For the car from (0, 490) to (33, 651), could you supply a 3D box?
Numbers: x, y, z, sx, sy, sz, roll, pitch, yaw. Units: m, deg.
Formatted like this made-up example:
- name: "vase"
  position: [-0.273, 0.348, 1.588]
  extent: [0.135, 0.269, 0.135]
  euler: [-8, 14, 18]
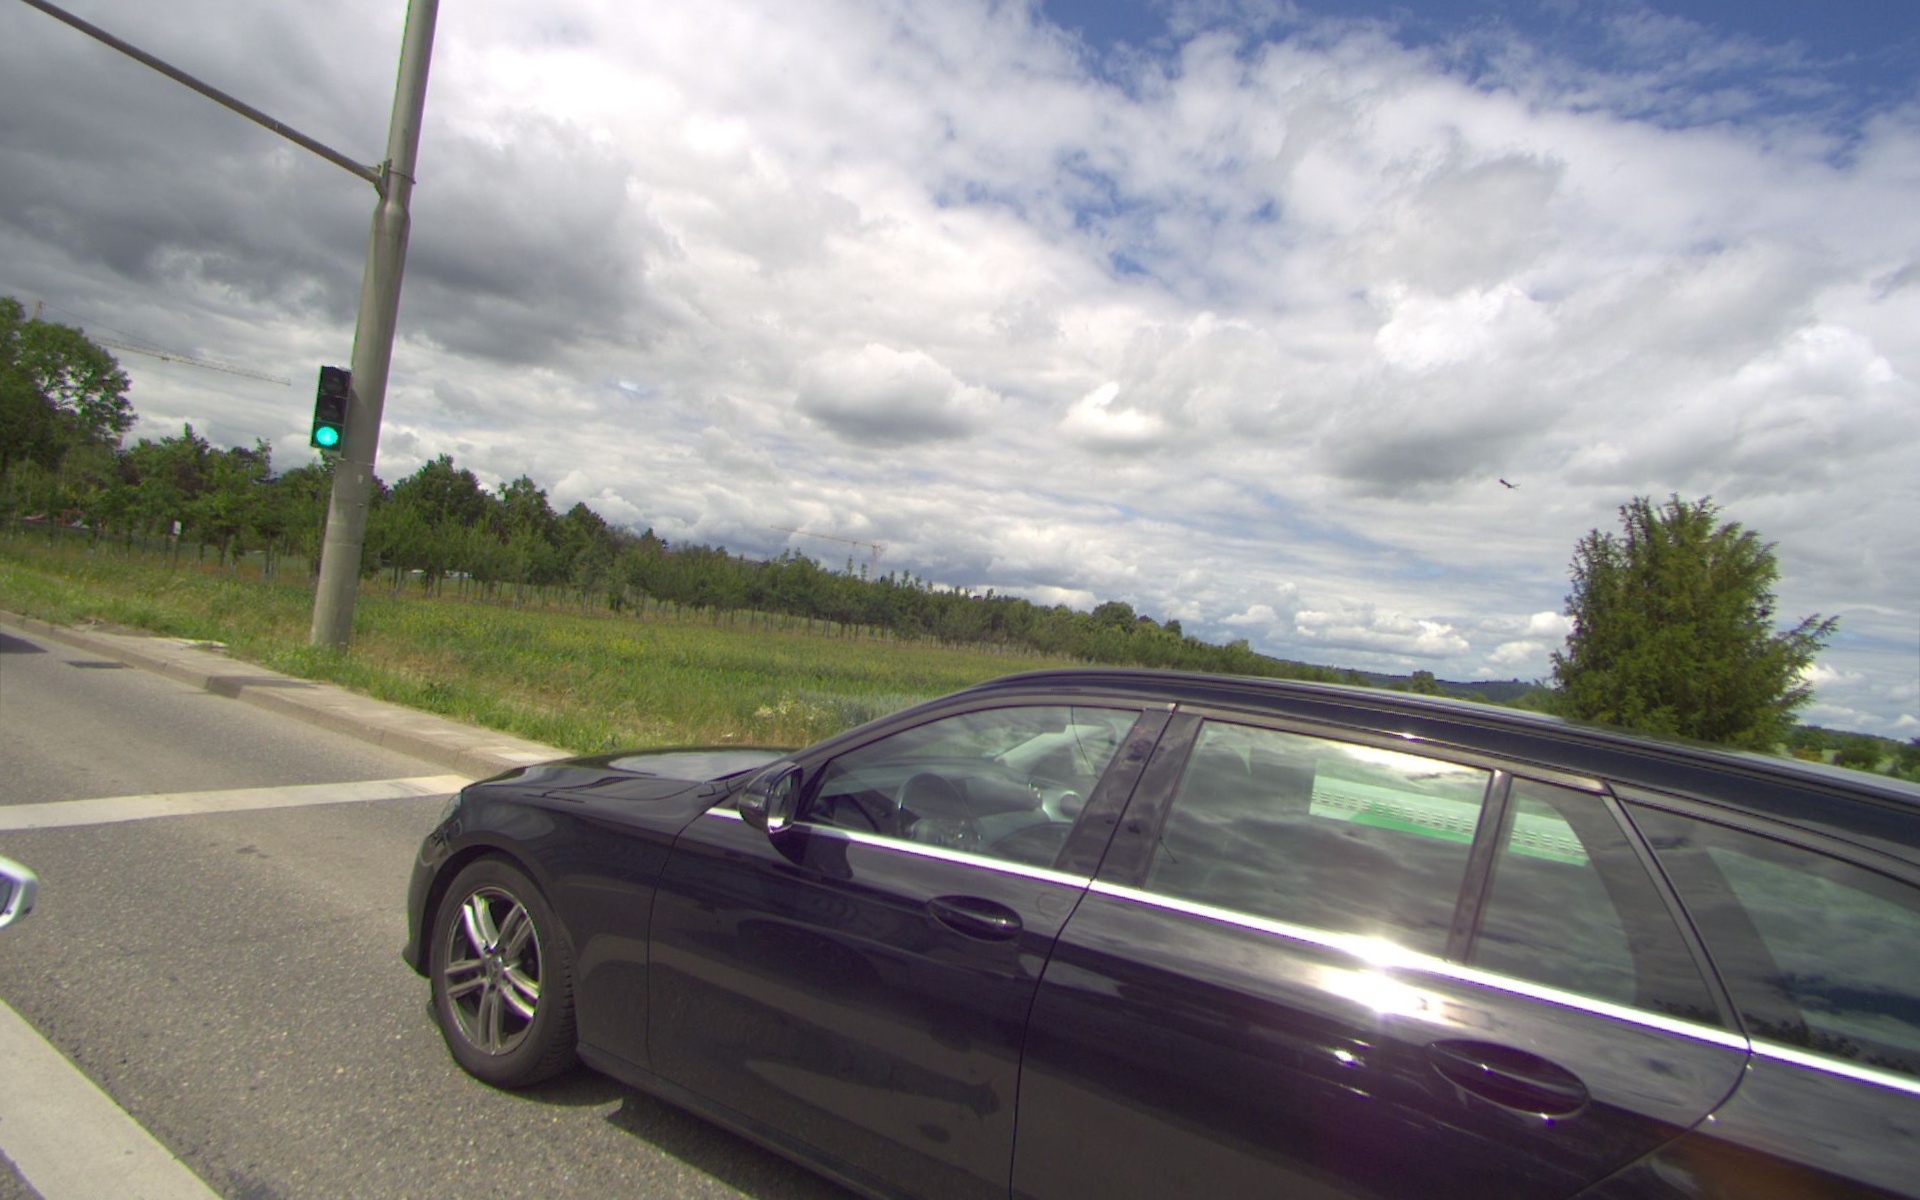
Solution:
- name: "car"
  position: [-11.470, -0.573, 10.171]
  extent: [4.372, 1.536, 1.866]
  euler: [7, -1, 32]

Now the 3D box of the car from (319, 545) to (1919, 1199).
- name: "car"
  position: [0.605, 0.887, 2.786]
  extent: [5.113, 1.458, 1.876]
  euler: [7, -1, 32]
